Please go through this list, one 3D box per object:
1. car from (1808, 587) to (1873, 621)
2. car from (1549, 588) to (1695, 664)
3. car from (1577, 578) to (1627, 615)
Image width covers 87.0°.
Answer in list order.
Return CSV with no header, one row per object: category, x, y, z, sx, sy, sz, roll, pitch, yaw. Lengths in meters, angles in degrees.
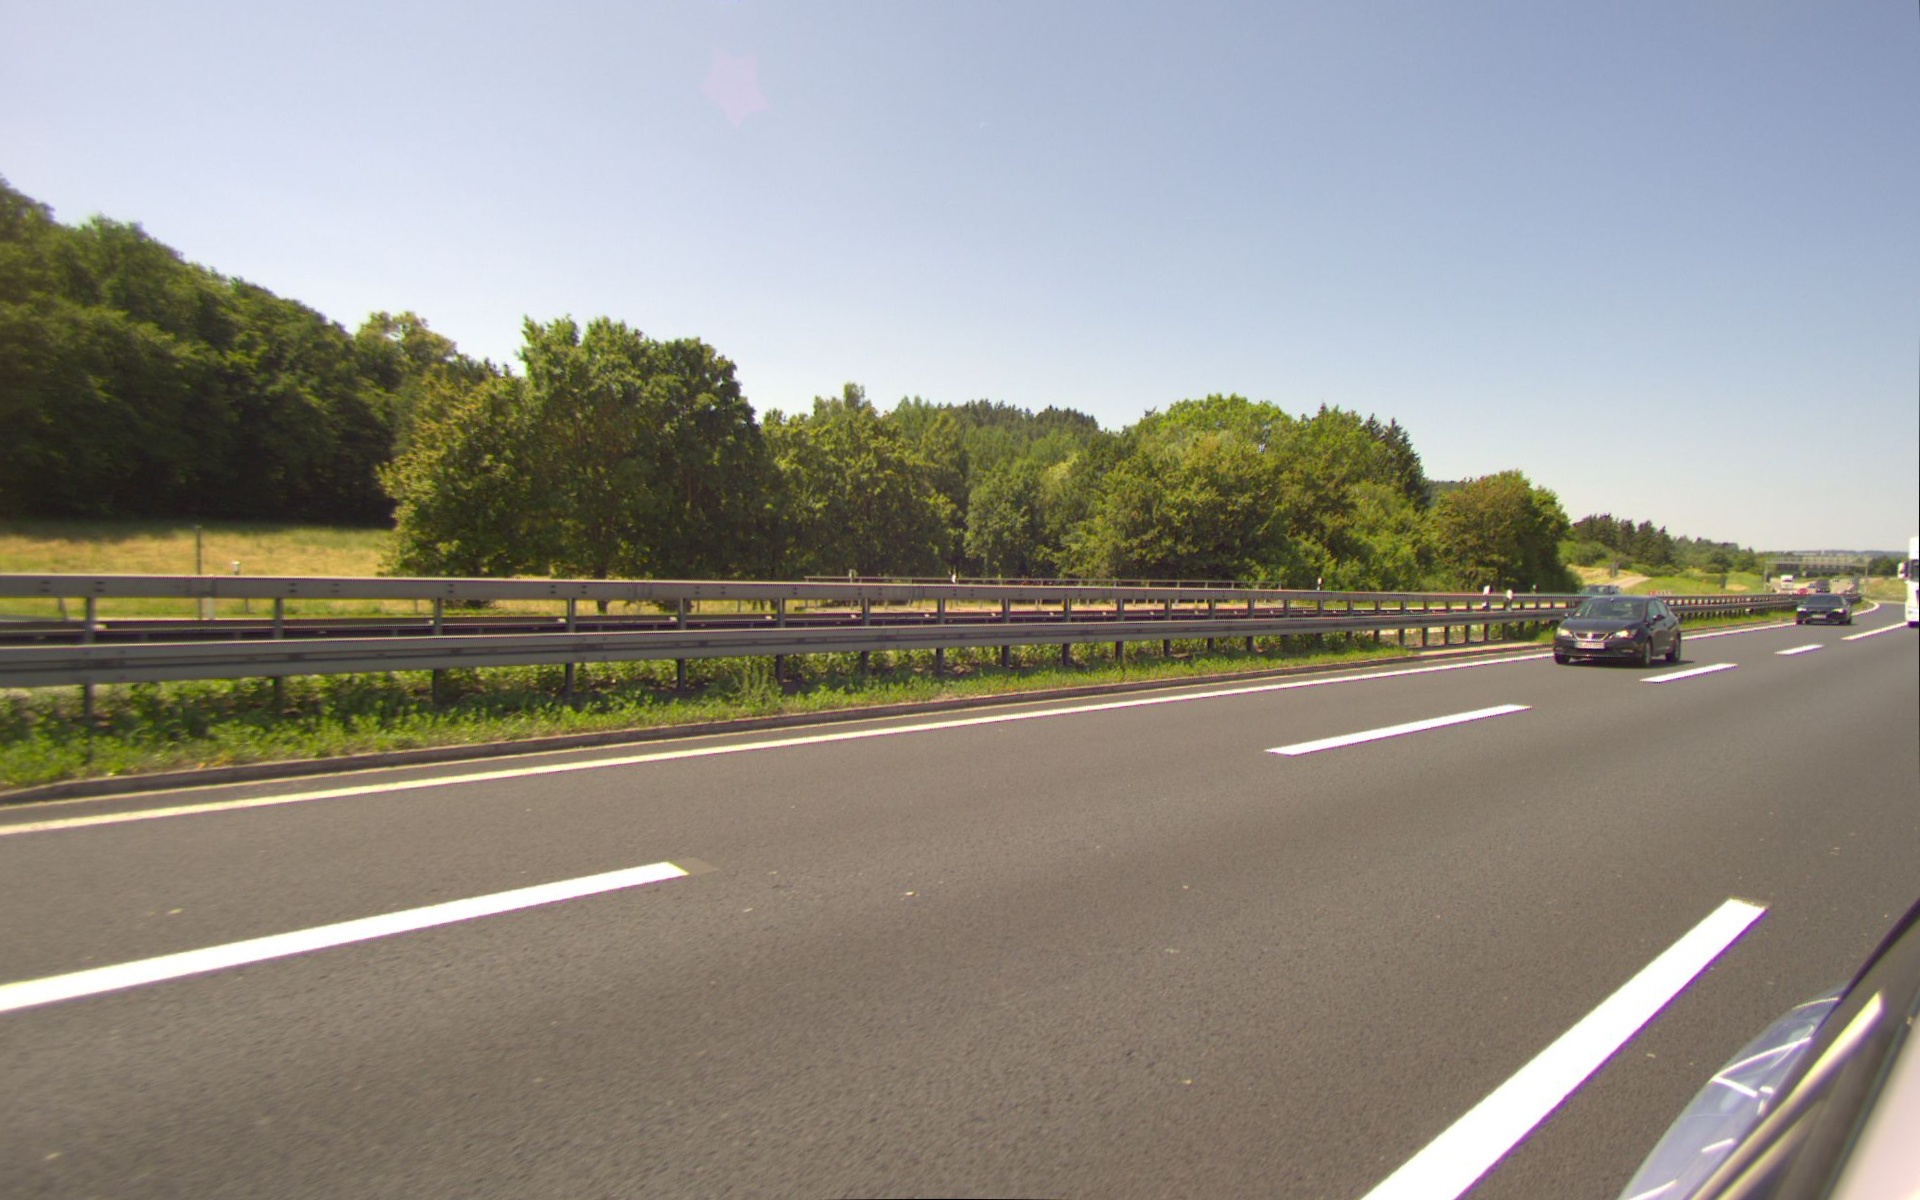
car,40.911,0.156,46.998,3.801,1.491,1.889,-1,2,-43
car,13.970,0.484,21.294,3.698,1.417,1.779,-1,2,-43
car,36.780,-0.247,57.937,1.990,2.039,3.944,1,1,39
